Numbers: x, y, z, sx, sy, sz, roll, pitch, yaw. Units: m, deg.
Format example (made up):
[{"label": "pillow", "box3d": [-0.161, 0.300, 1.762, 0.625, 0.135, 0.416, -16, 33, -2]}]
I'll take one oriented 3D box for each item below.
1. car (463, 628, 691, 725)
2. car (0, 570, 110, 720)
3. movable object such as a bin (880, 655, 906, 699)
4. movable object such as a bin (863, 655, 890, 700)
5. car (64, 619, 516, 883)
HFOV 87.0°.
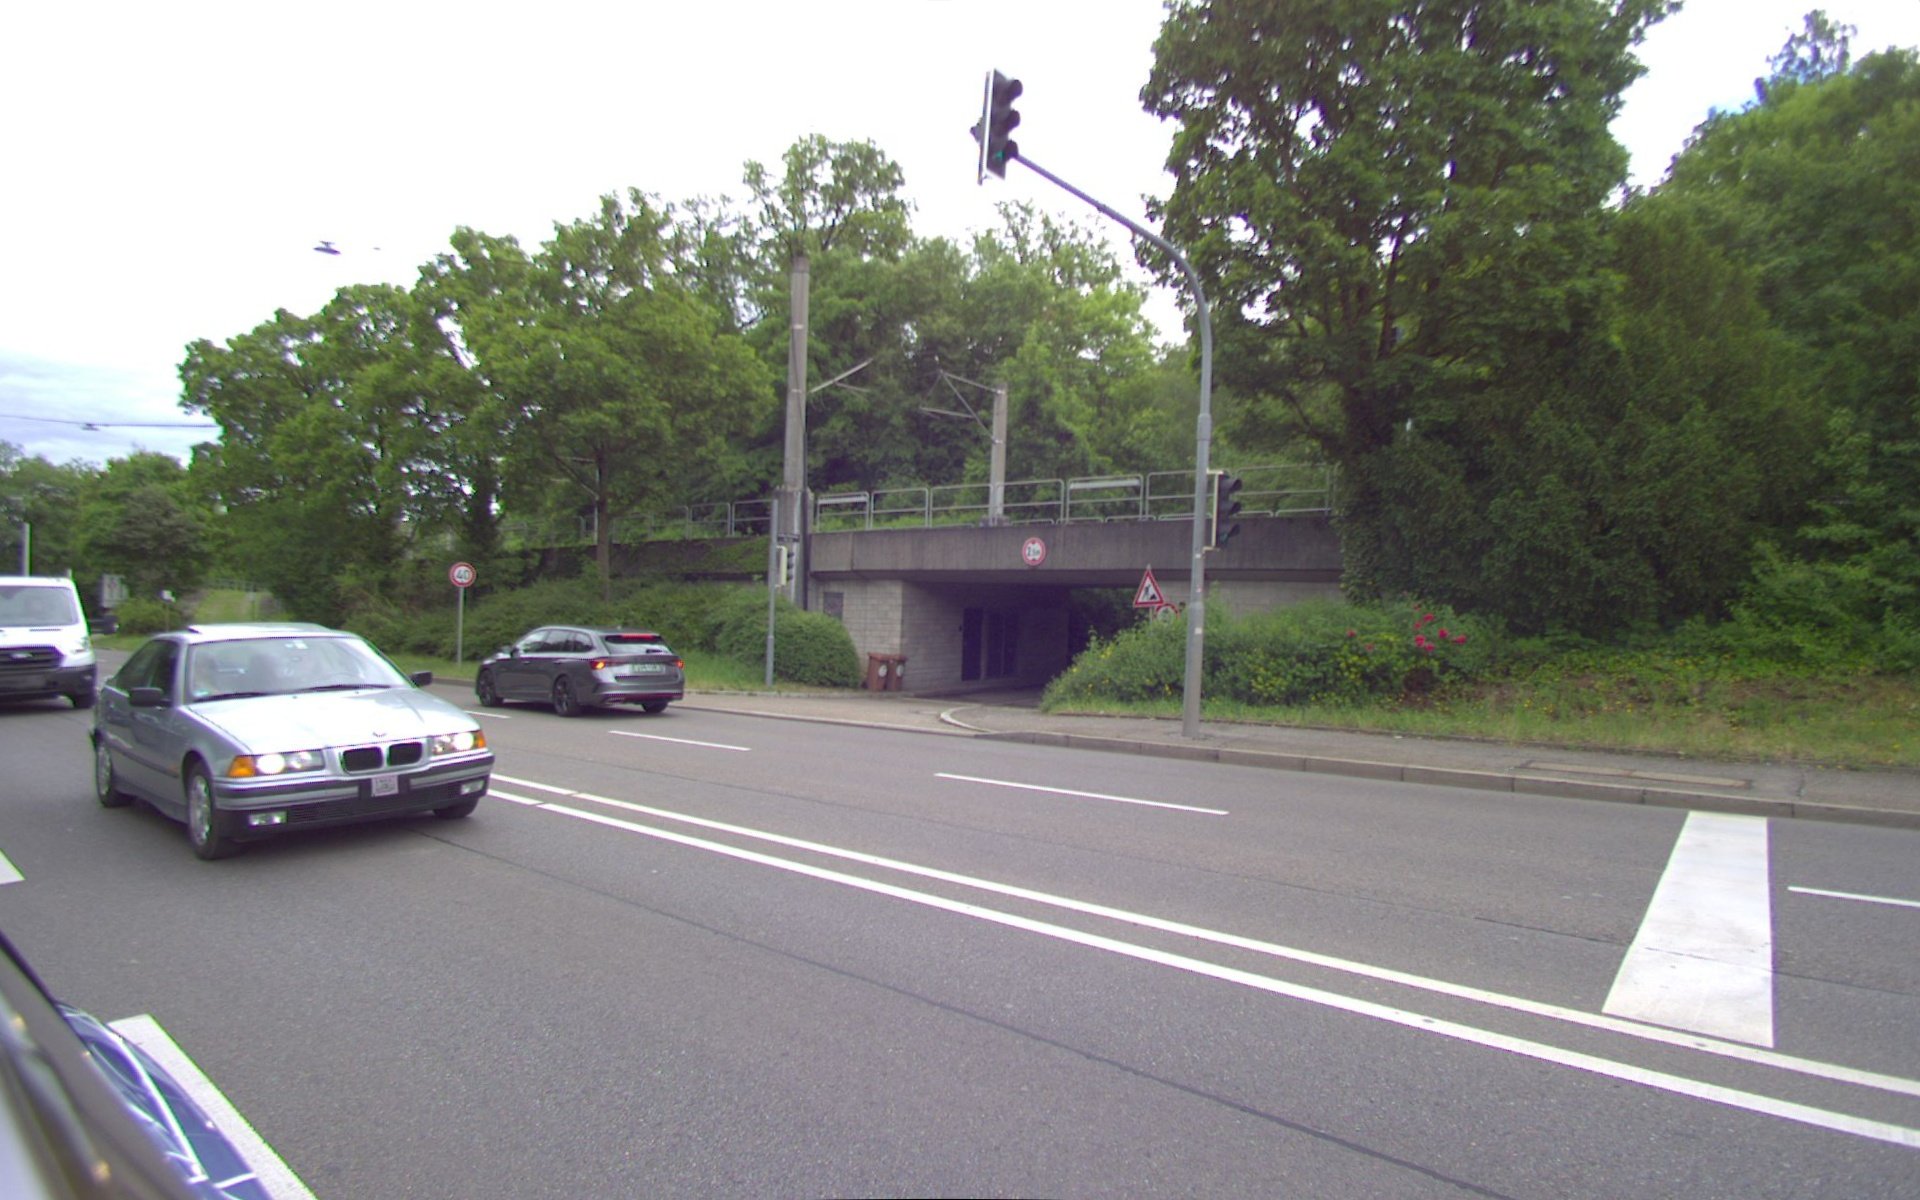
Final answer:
[{"label": "car", "box3d": [-6.478, 1.180, 16.871, 4.358, 1.406, 1.662, -1, -3, 41]}, {"label": "car", "box3d": [-16.546, 0.717, 17.164, 6.454, 2.217, 2.256, -1, -1, 41]}, {"label": "movable object such as a bin", "box3d": [-1.675, 1.915, 25.369, 0.503, 1.071, 0.414, -1, -3, 36]}, {"label": "movable object such as a bin", "box3d": [-2.054, 1.895, 24.838, 0.503, 1.071, 0.414, -1, -3, 36]}, {"label": "car", "box3d": [-5.077, 0.858, 7.437, 4.179, 1.401, 1.643, -1, -1, 40]}]
